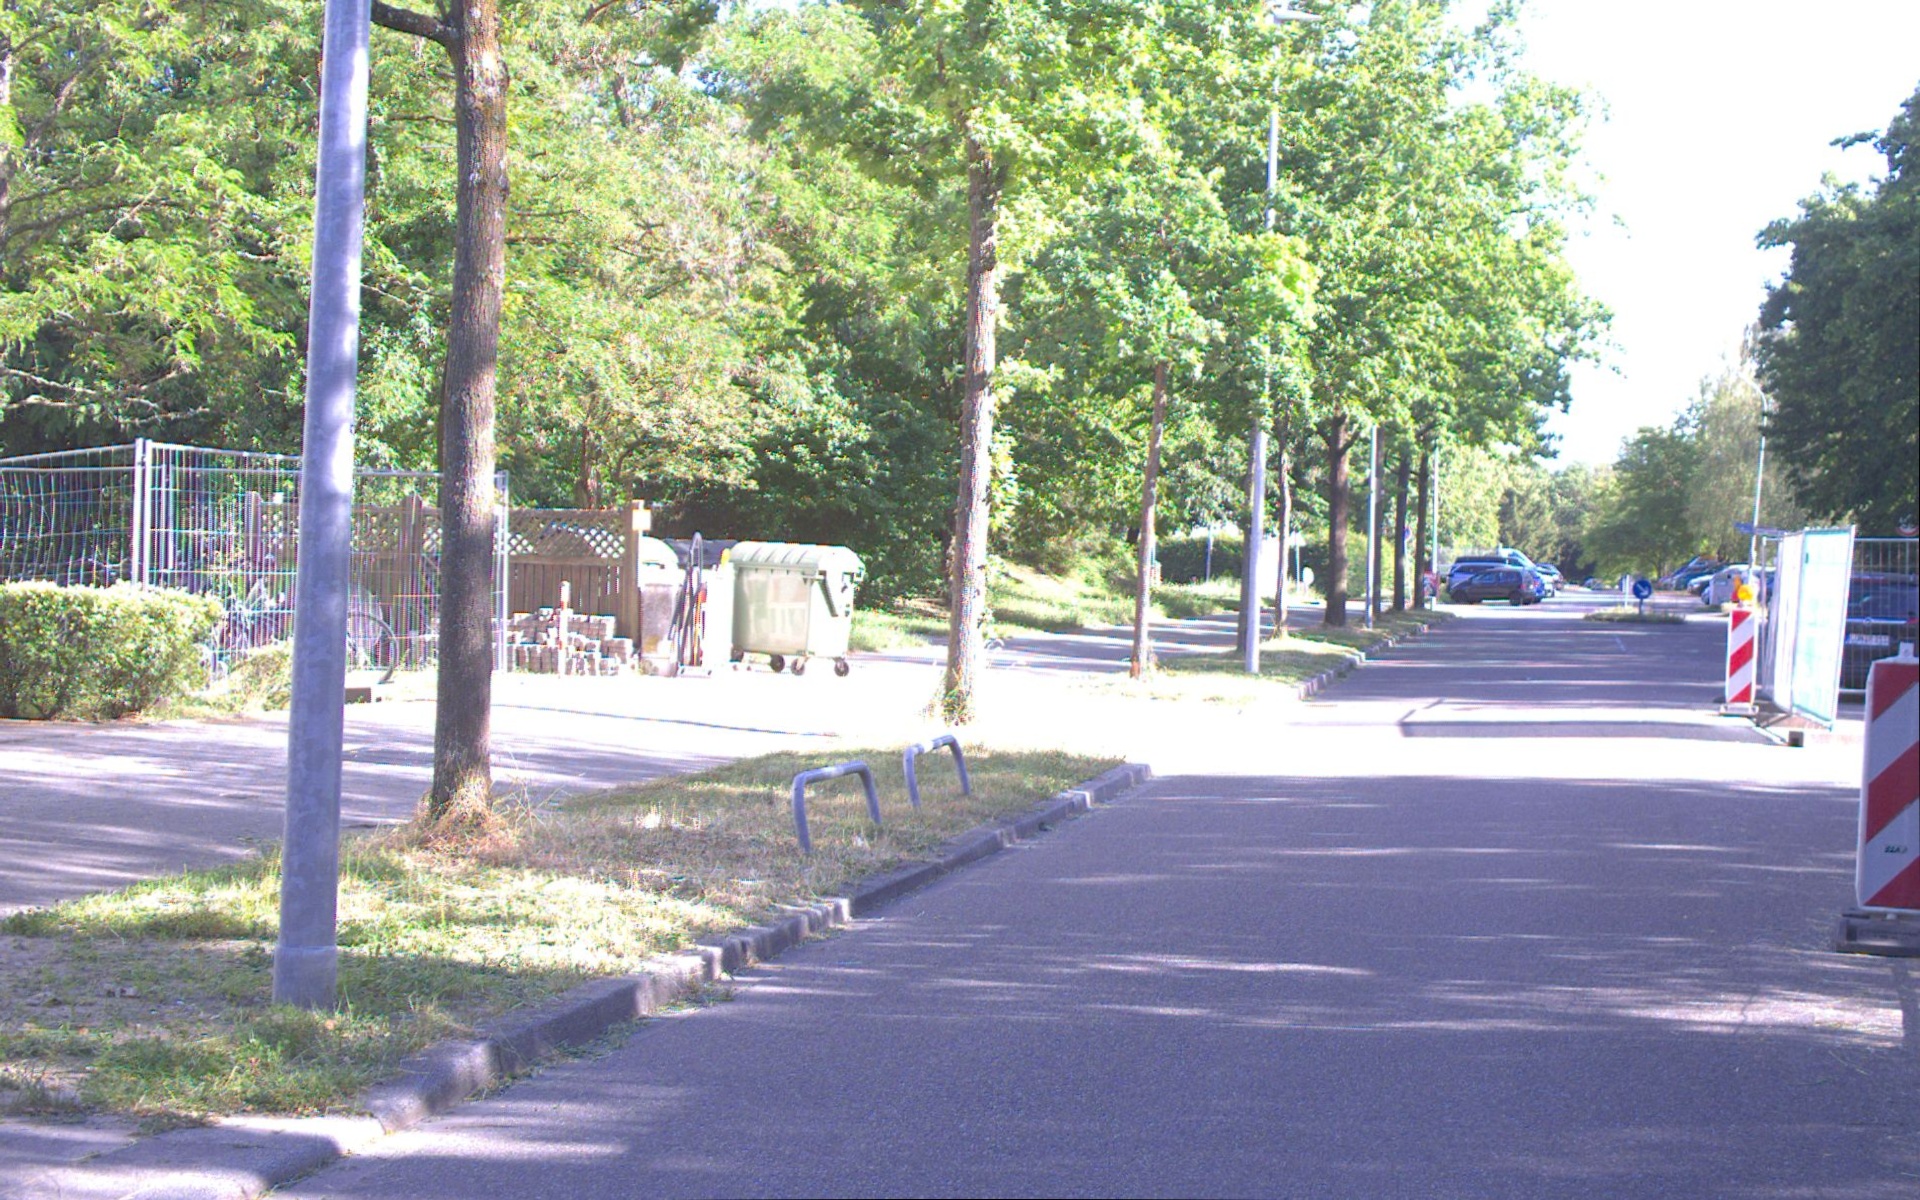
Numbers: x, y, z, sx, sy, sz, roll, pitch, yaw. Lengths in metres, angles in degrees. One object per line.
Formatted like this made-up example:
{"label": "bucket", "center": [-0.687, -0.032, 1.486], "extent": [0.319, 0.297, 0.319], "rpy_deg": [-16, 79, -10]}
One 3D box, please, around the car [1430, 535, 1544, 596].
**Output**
{"label": "car", "center": [25.369, -1.662, 165.590], "extent": [5.201, 2.612, 2.293], "rpy_deg": [3, 1, 7]}

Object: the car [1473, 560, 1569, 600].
{"label": "car", "center": [25.546, -0.895, 156.430], "extent": [4.109, 1.571, 1.957], "rpy_deg": [4, 1, 13]}

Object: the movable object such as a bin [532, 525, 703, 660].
{"label": "movable object such as a bin", "center": [-3.753, -0.085, 37.696], "extent": [1.272, 1.430, 1.323], "rpy_deg": [2, 1, 39]}

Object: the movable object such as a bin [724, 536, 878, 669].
{"label": "movable object such as a bin", "center": [-1.767, 0.025, 38.417], "extent": [1.271, 1.430, 1.180], "rpy_deg": [2, 1, 27]}

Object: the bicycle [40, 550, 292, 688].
{"label": "bicycle", "center": [-6.290, 0.149, 27.267], "extent": [1.869, 1.023, 0.400], "rpy_deg": [2, 0, -1]}

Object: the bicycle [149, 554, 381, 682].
{"label": "bicycle", "center": [-5.878, 0.152, 29.108], "extent": [1.859, 1.023, 0.400], "rpy_deg": [2, 0, -1]}

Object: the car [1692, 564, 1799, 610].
{"label": "car", "center": [30.651, -0.517, 134.124], "extent": [3.842, 1.571, 1.687], "rpy_deg": [4, 1, 18]}

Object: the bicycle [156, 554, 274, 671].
{"label": "bicycle", "center": [-6.755, 0.116, 31.221], "extent": [0.399, 1.023, 1.700], "rpy_deg": [2, 0, 10]}

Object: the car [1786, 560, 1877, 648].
{"label": "car", "center": [18.910, 0.061, 74.726], "extent": [1.624, 1.767, 3.667], "rpy_deg": [4, 1, 11]}

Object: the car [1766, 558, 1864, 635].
{"label": "car", "center": [21.271, -0.116, 85.644], "extent": [1.791, 1.779, 4.555], "rpy_deg": [3, 1, 8]}

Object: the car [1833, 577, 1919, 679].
{"label": "car", "center": [13.898, 0.401, 50.688], "extent": [1.662, 1.371, 4.153], "rpy_deg": [4, 1, 11]}

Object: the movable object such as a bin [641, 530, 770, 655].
{"label": "movable object such as a bin", "center": [-3.002, -0.092, 40.452], "extent": [1.141, 1.430, 1.274], "rpy_deg": [1, 1, -22]}

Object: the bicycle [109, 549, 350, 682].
{"label": "bicycle", "center": [-5.976, 0.129, 28.164], "extent": [1.855, 1.023, 0.400], "rpy_deg": [2, 0, -1]}

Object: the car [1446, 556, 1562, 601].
{"label": "car", "center": [22.241, -0.862, 140.471], "extent": [4.322, 1.571, 2.044], "rpy_deg": [4, 1, 18]}

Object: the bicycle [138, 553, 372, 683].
{"label": "bicycle", "center": [-5.860, 0.149, 28.623], "extent": [1.838, 1.023, 0.400], "rpy_deg": [2, 0, -1]}

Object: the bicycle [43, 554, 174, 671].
{"label": "bicycle", "center": [-7.764, 0.115, 31.392], "extent": [0.399, 1.023, 1.699], "rpy_deg": [2, 0, 13]}

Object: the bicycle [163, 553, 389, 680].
{"label": "bicycle", "center": [-5.869, 0.141, 29.537], "extent": [1.837, 1.023, 0.400], "rpy_deg": [2, 0, -1]}

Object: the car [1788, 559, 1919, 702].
{"label": "car", "center": [11.704, 0.366, 44.268], "extent": [1.811, 1.645, 4.417], "rpy_deg": [4, 1, 15]}

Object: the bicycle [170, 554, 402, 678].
{"label": "bicycle", "center": [-5.876, 0.139, 30.012], "extent": [1.914, 1.023, 0.400], "rpy_deg": [2, 0, -1]}
